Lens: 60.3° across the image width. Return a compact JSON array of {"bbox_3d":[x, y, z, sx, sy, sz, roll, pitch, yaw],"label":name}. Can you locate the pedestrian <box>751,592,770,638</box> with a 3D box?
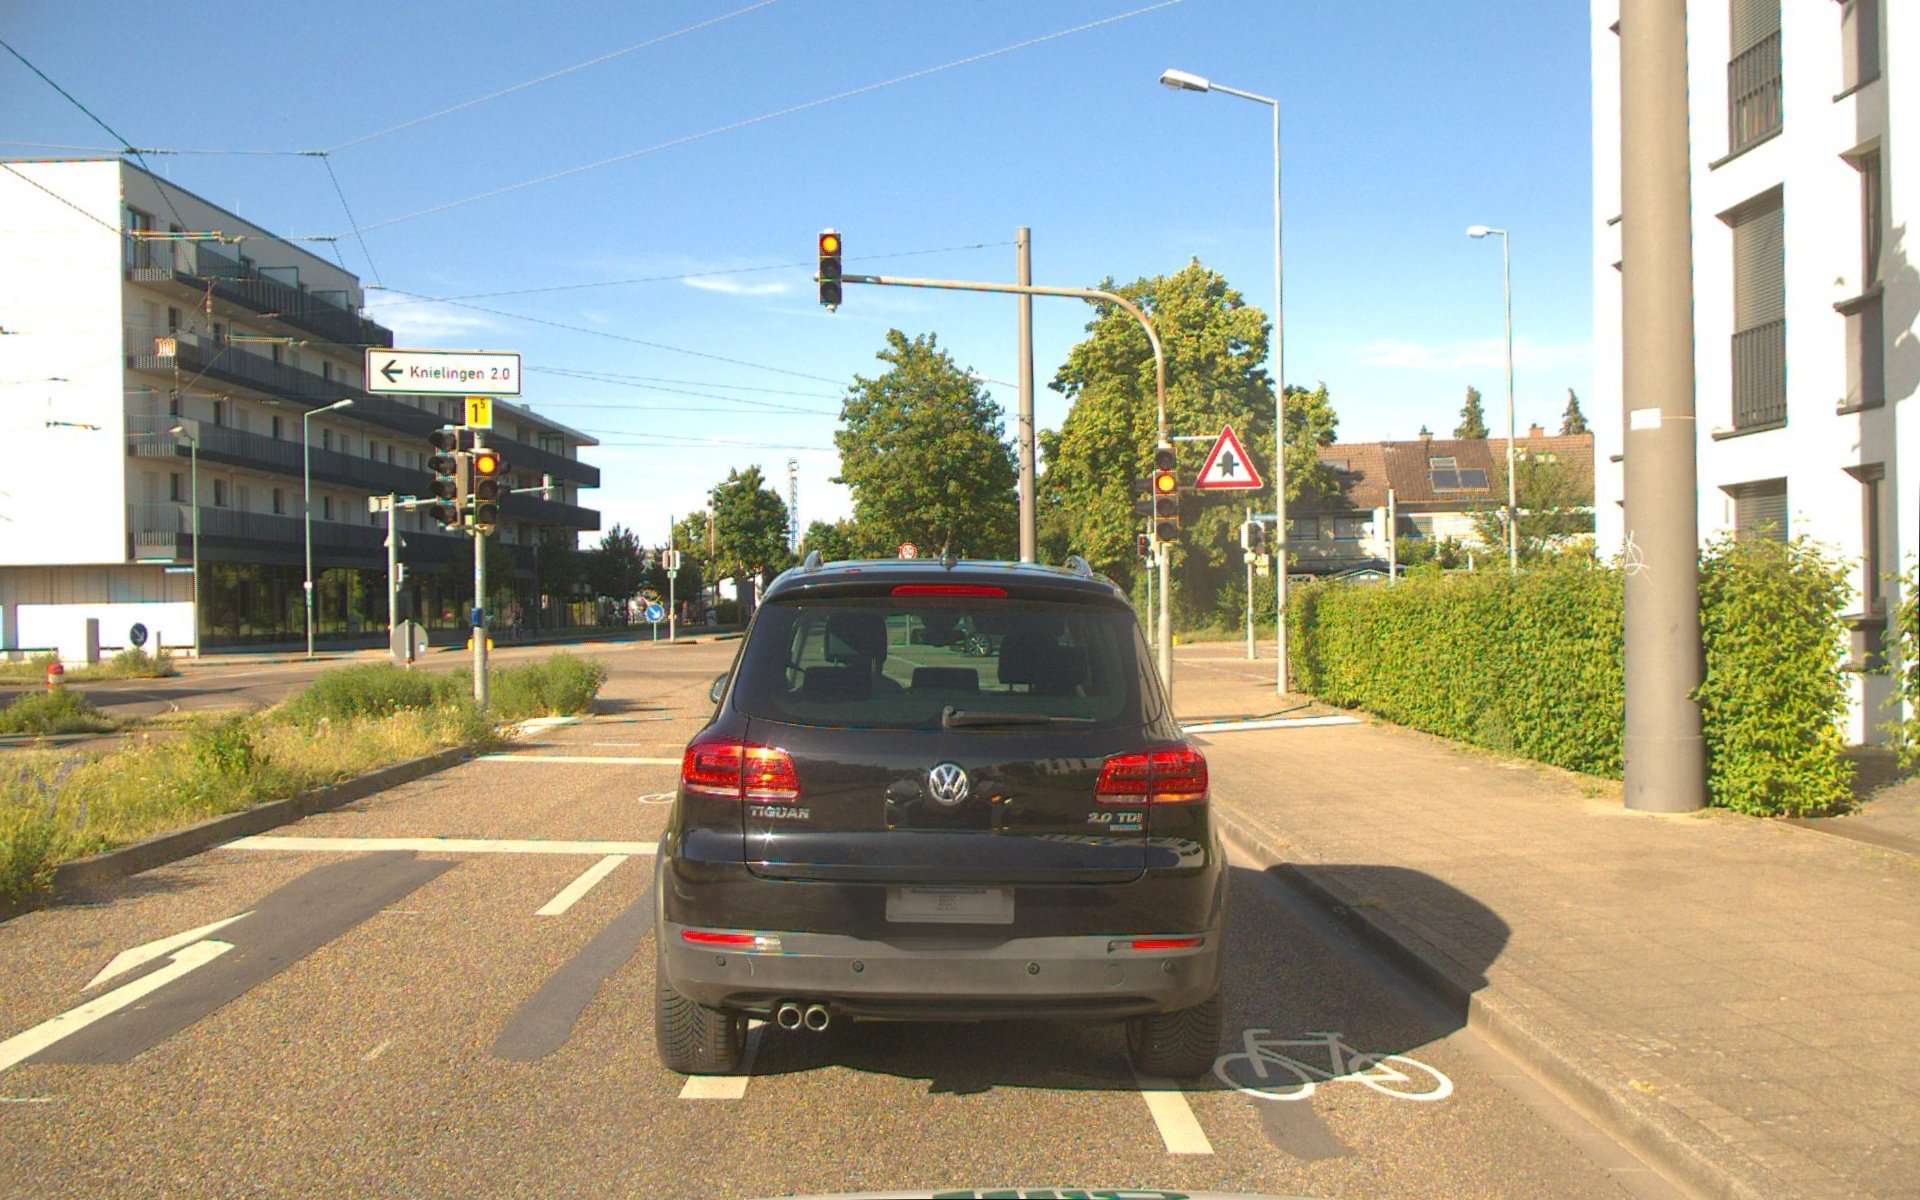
[{"bbox_3d":[-7.180,0.535,59.630,0.590,1.668,0.529,0,0,4],"label":"pedestrian"}]

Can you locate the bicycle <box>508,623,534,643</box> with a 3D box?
[{"bbox_3d":[-19.502,1.460,73.509,0.485,0.863,2.079,0,0,3],"label":"bicycle"}]

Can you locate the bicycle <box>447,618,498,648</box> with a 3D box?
[{"bbox_3d":[-18.914,1.286,64.211,0.947,1.104,1.834,0,0,23],"label":"bicycle"}]

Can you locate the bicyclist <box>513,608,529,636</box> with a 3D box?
[{"bbox_3d":[-19.496,0.978,73.461,0.464,1.245,0.713,0,0,3],"label":"bicyclist"}]

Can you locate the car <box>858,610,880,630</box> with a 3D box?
[{"bbox_3d":[-7.872,1.758,143.605,1.621,1.668,4.001,0,0,1],"label":"car"}]

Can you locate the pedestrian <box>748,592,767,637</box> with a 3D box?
[{"bbox_3d":[-7.223,0.507,59.036,0.590,1.592,0.529,0,0,4],"label":"pedestrian"}]

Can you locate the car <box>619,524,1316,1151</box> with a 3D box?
[{"bbox_3d":[-0.041,0.633,6.453,1.867,1.671,3.998,0,0,-2],"label":"car"}]

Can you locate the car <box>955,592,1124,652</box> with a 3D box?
[{"bbox_3d":[2.142,0.567,44.424,4.403,1.530,2.001,0,0,3],"label":"car"}]
